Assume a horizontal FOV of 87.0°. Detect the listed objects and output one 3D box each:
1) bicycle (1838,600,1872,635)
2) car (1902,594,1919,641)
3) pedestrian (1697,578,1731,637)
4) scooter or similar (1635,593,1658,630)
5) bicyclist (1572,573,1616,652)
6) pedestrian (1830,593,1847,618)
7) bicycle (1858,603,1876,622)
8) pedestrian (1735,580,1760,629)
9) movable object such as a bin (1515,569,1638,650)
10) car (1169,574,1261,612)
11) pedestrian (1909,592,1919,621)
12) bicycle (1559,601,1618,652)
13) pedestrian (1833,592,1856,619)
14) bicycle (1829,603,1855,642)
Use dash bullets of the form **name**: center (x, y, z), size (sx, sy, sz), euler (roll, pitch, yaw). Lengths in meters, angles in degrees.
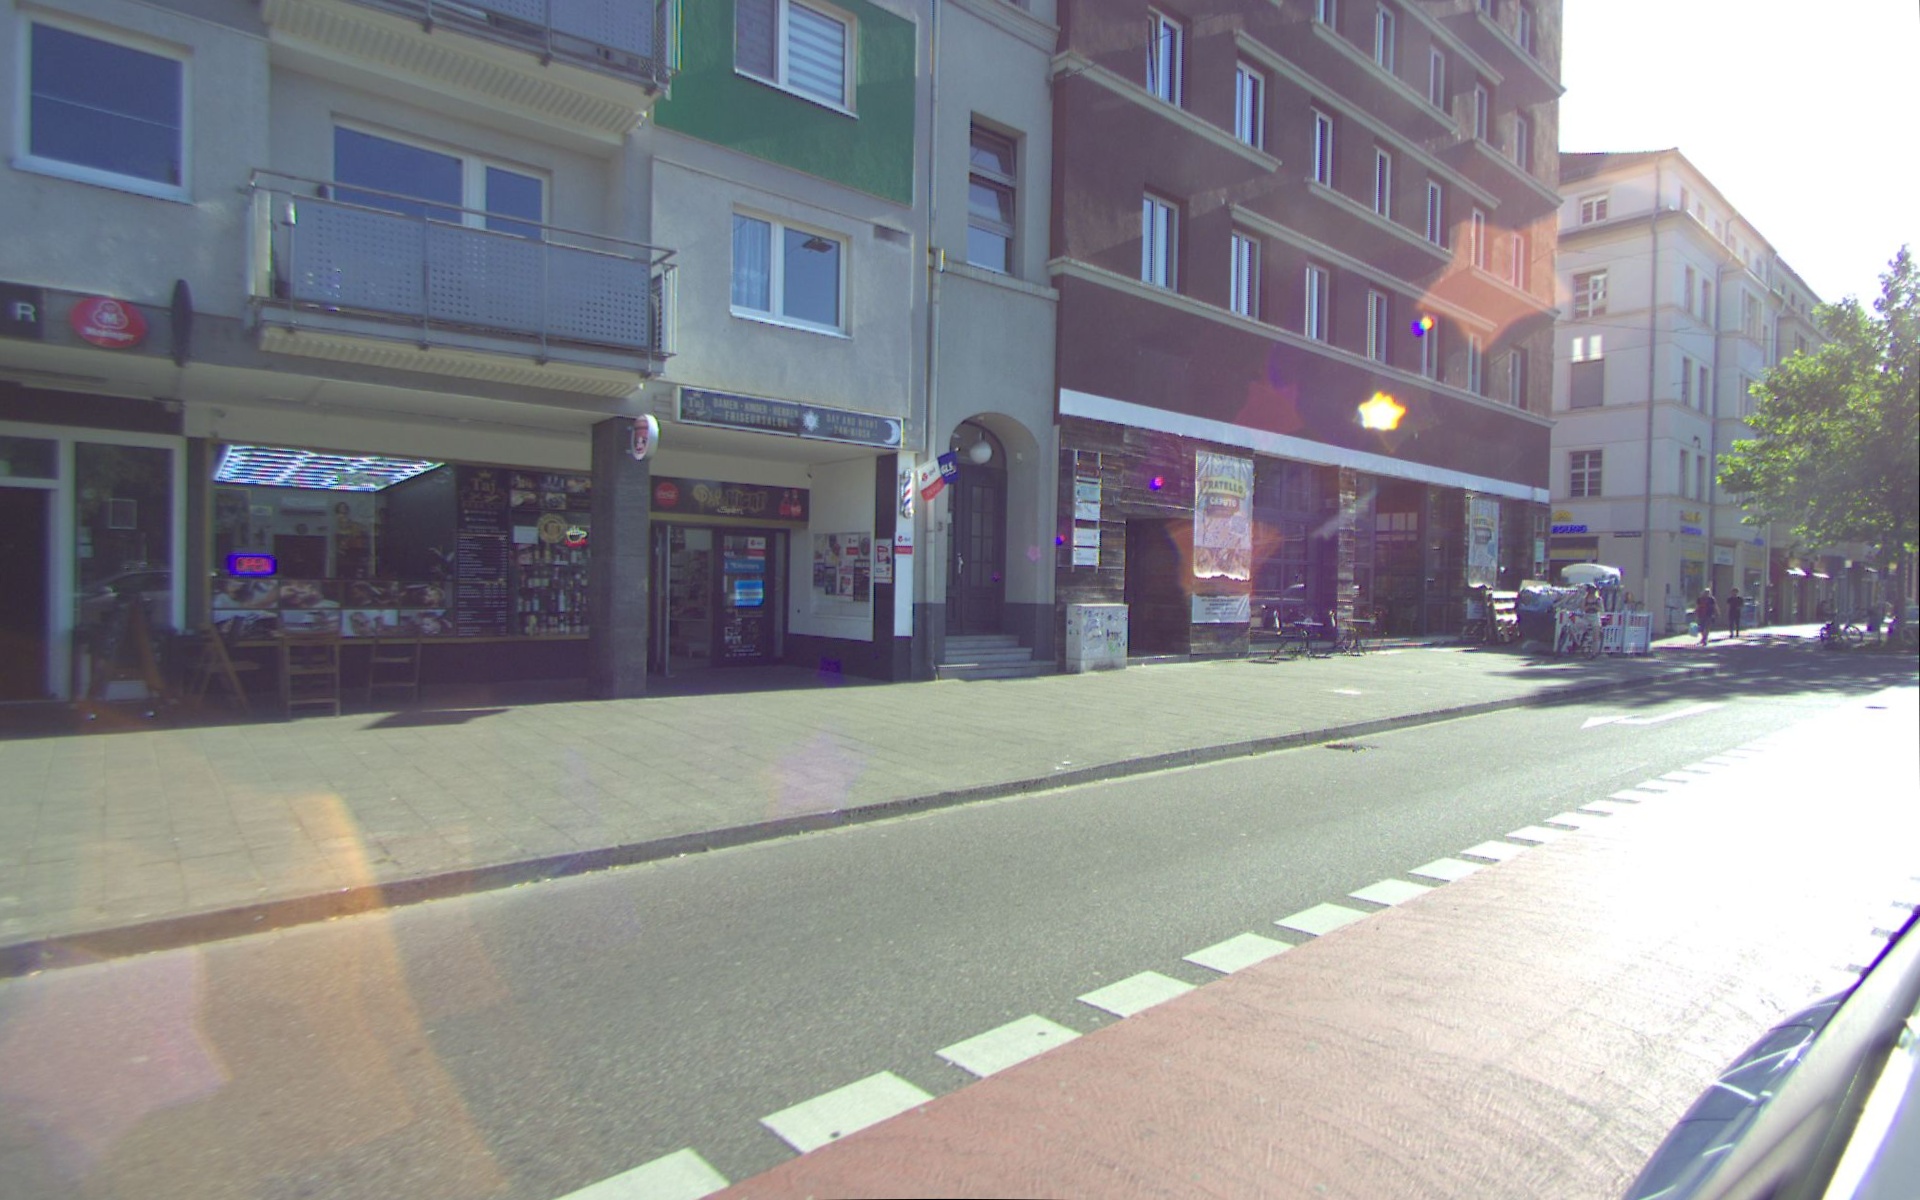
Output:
- **bicycle**: center (30.777, 0.594, 34.797), size (1.658, 1.150, 0.489), euler (0, 0, -35)
- **car**: center (34.696, 0.615, 35.621), size (4.358, 1.575, 1.792), euler (0, 1, -41)
- **pedestrian**: center (24.923, 0.244, 33.444), size (0.848, 1.923, 0.715), euler (0, 1, -41)
- **scooter or similar**: center (24.616, 0.416, 36.304), size (0.377, 1.302, 1.199), euler (-1, -1, 19)
- **bicyclist**: center (14.077, 0.270, 22.468), size (0.585, 1.711, 0.603), euler (1, 0, -30)
- **pedestrian**: center (47.294, 0.301, 54.497), size (0.806, 1.349, 0.536), euler (0, 2, -40)
- **bicycle**: center (53.207, 0.726, 59.378), size (2.577, 1.037, 0.491), euler (0, 1, -41)
- **pedestrian**: center (28.082, 0.160, 36.083), size (0.757, 1.732, 0.559), euler (1, 0, -41)
- **movable object such as a bin**: center (15.550, 0.233, 25.455), size (1.945, 1.866, 3.425), euler (2, 0, 43)
- **car**: center (12.414, -0.311, 49.503), size (1.964, 1.772, 3.996), euler (0, 0, -39)
- **pedestrian**: center (57.603, 0.388, 60.740), size (0.901, 1.726, 0.860), euler (0, 0, -43)
- **bicycle**: center (13.978, 0.586, 22.510), size (1.650, 1.099, 0.319), euler (1, 1, -28)
- **pedestrian**: center (48.094, 0.295, 55.009), size (0.841, 1.386, 0.787), euler (0, 2, -40)
- **bicycle**: center (27.867, 0.703, 31.970), size (0.580, 1.177, 2.204), euler (-1, -1, 42)
